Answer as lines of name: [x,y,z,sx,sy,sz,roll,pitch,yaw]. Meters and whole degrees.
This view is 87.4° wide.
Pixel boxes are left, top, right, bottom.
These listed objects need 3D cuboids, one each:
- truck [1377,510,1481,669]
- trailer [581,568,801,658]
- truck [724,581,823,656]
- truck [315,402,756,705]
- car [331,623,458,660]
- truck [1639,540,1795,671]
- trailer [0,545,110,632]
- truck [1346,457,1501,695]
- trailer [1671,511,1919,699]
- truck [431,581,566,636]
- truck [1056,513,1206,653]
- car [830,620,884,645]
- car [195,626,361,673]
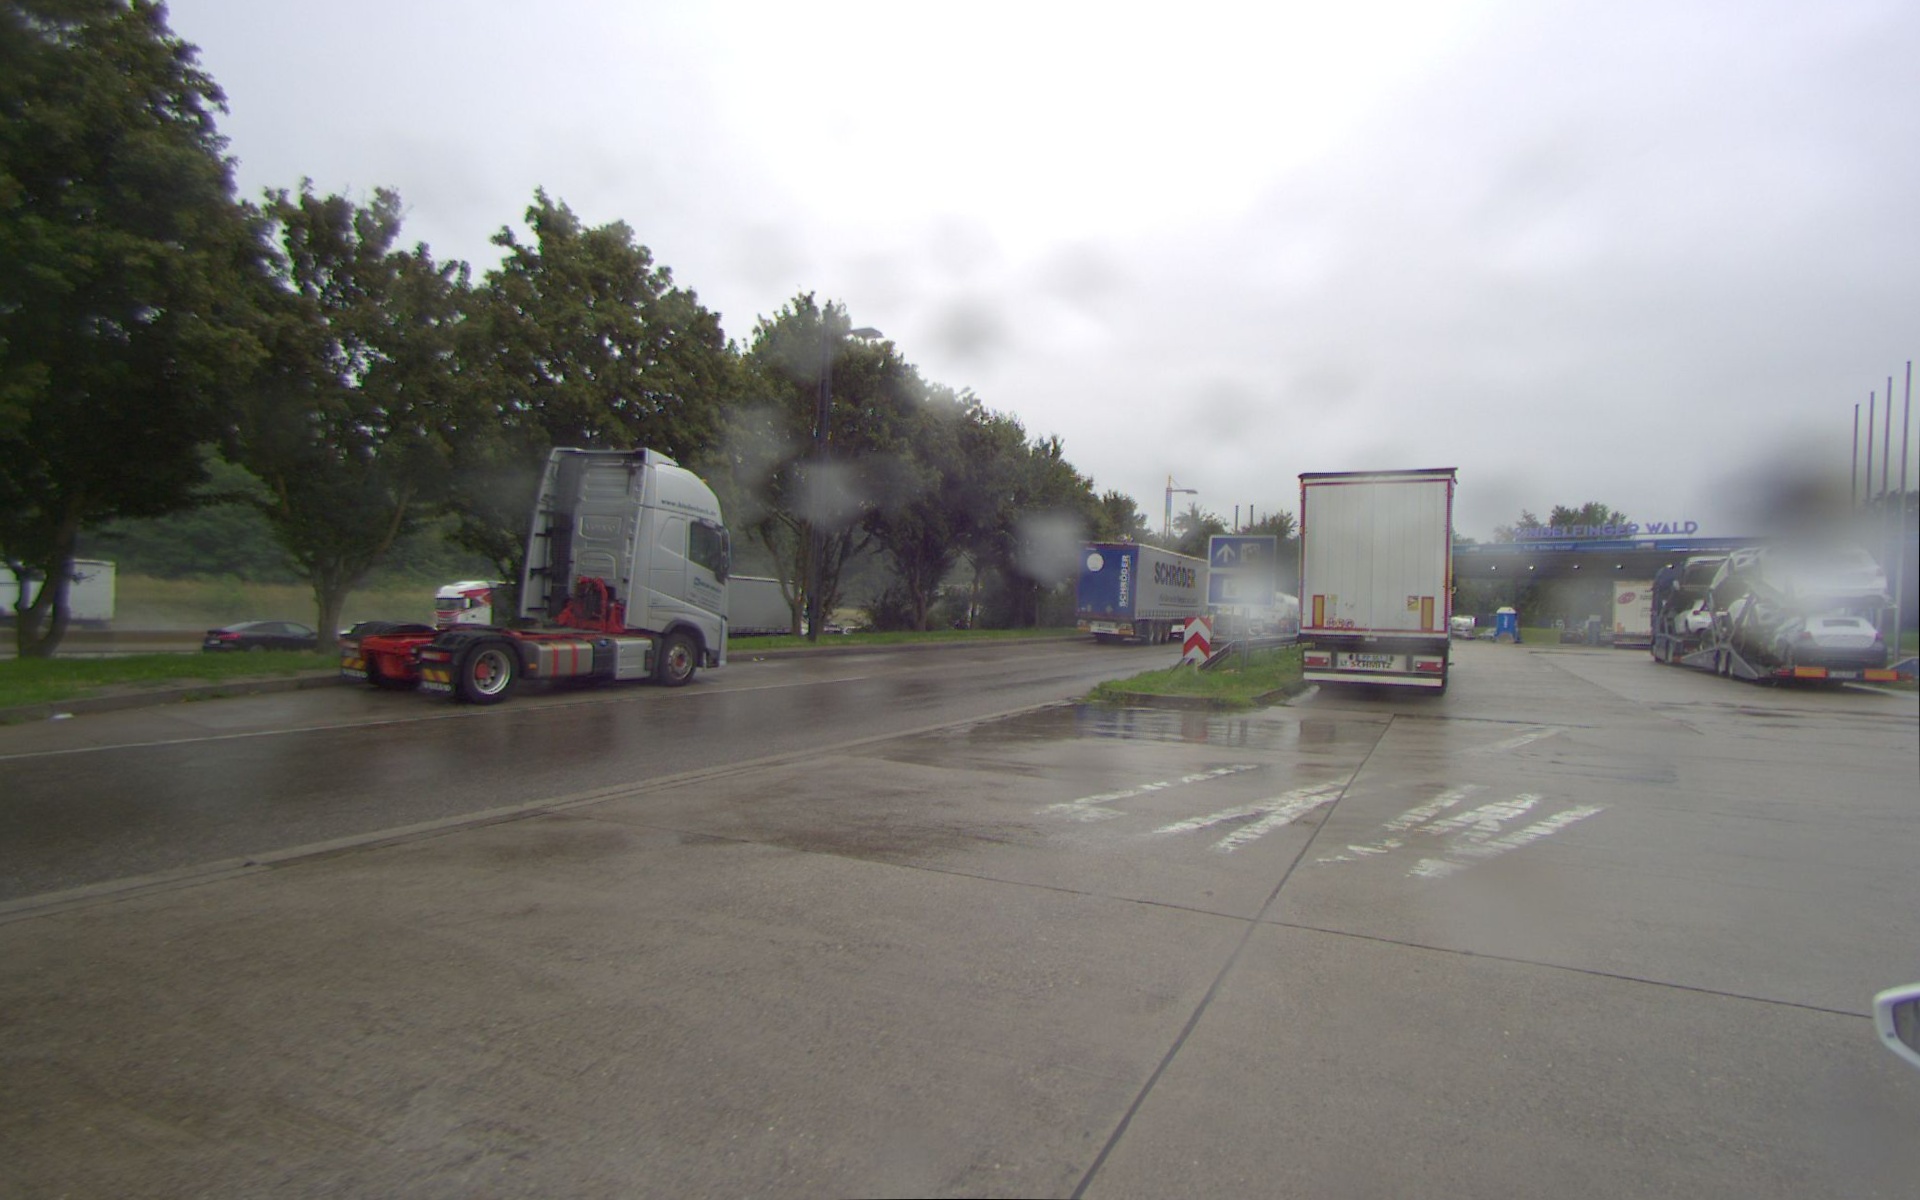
truck: [13.376,-0.226,28.555,2.334,3.926,7.004,1,0,26]
trailer: [-13.332,0.899,52.197,2.849,4.034,14.114,0,-2,23]
truck: [-10.730,1.142,58.378,2.826,4.105,5.933,0,-2,22]
truck: [-6.541,-0.591,16.603,2.871,3.956,6.309,2,0,27]
car: [-24.551,1.835,43.785,1.851,1.500,4.498,1,-2,27]
truck: [27.736,0.196,37.255,3.185,4.244,8.430,3,1,28]
trailer: [-42.542,-0.564,43.537,2.195,3.702,8.535,5,1,20]
truck: [10.566,-0.330,22.664,2.334,3.926,12.441,1,0,26]
trailer: [23.028,0.118,28.428,3.167,4.245,11.511,3,1,28]
truck: [-32.176,0.594,70.514,2.730,3.552,8.673,1,0,28]
truck: [7.963,-0.633,44.742,4.712,5.376,11.070,2,0,19]
car: [-6.822,2.166,67.155,1.879,1.571,3.998,1,-1,23]
car: [-23.950,1.738,35.467,1.850,1.500,4.501,1,-2,24]
